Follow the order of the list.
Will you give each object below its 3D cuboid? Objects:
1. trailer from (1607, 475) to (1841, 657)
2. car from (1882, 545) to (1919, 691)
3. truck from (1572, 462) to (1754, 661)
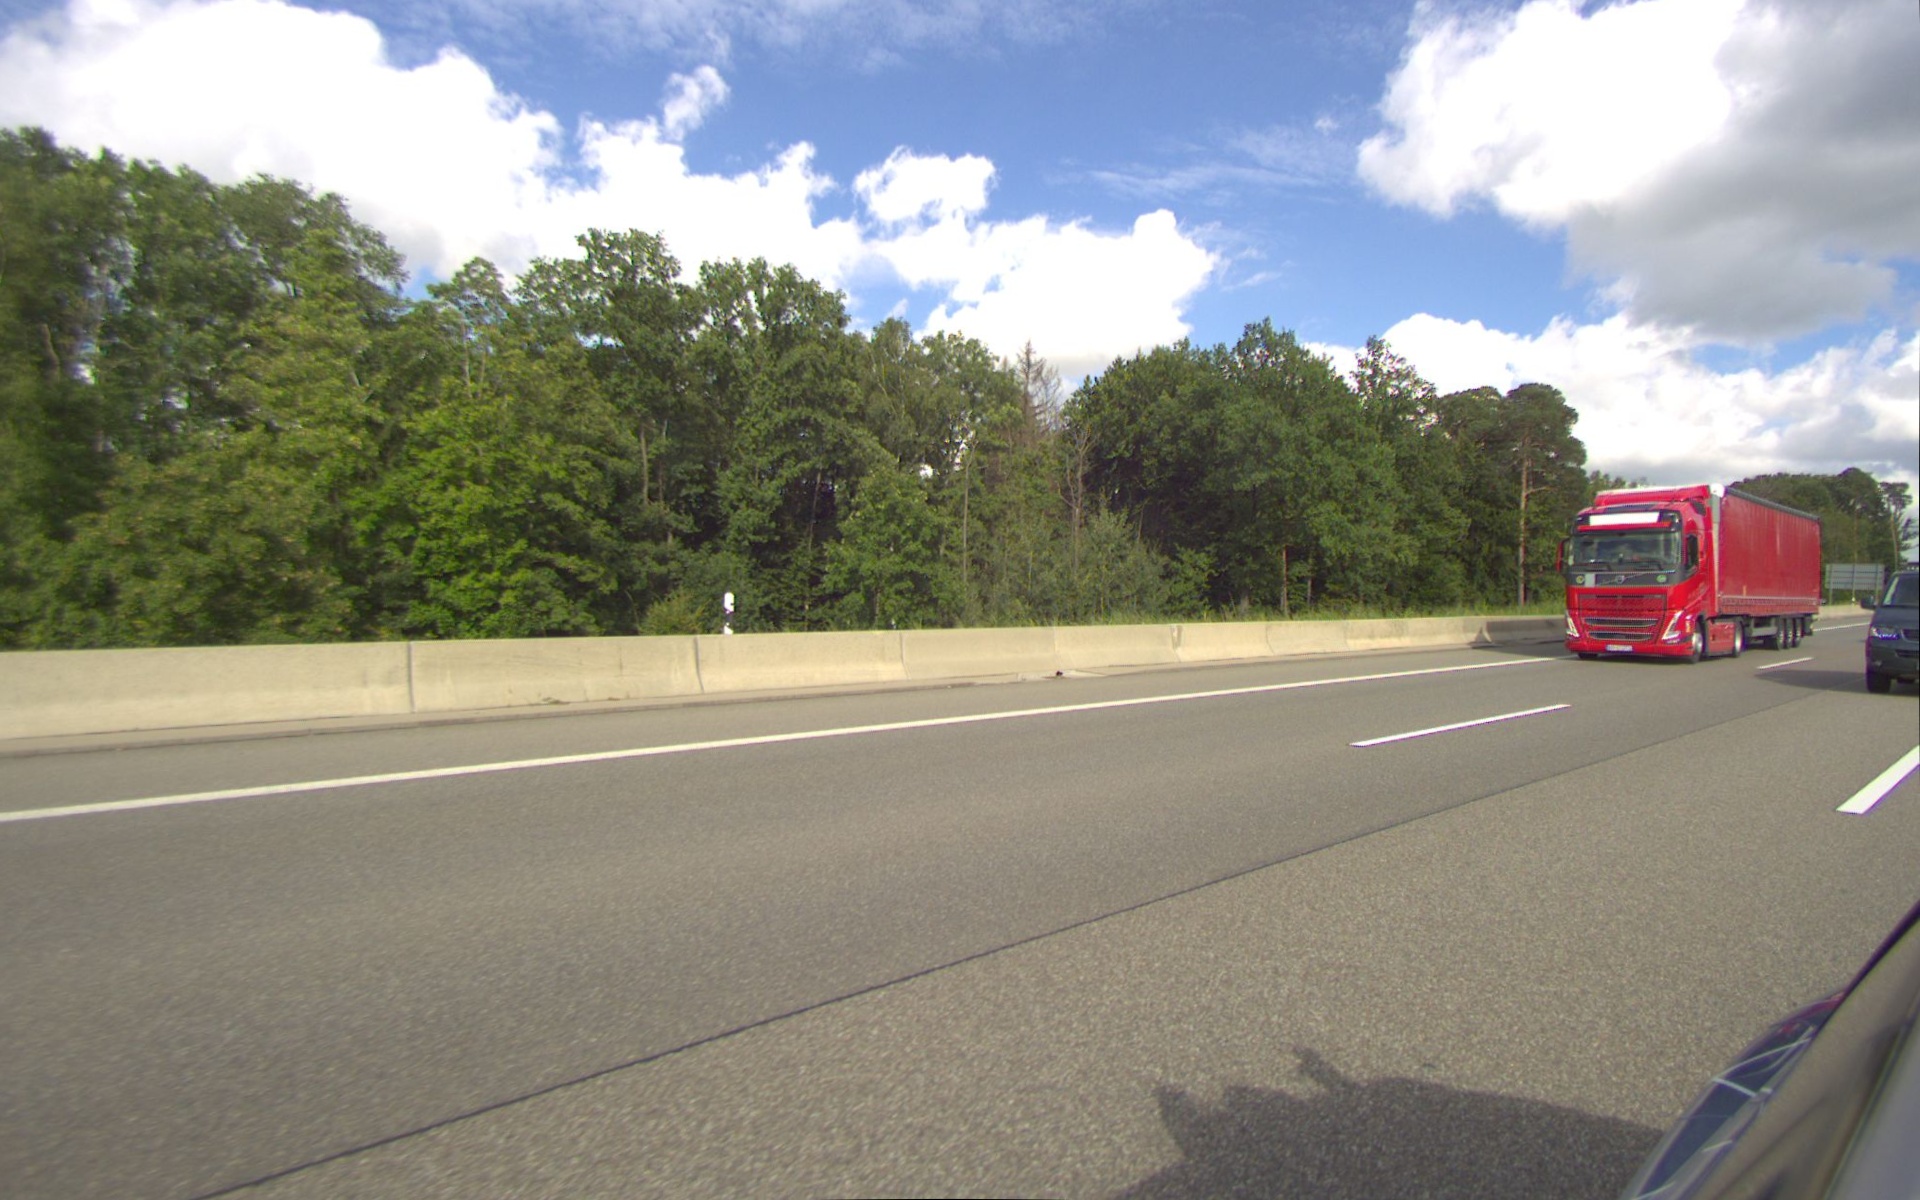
[{"bbox_3d":[22.203,-0.829,28.850,14.127,4.171,2.529,0,1,-41],"label":"trailer"},{"bbox_3d":[16.551,0.296,16.387,4.875,2.193,1.925,1,0,-42],"label":"car"},{"bbox_3d":[16.760,-0.851,24.061,4.572,4.255,2.530,0,0,-41],"label":"truck"}]
